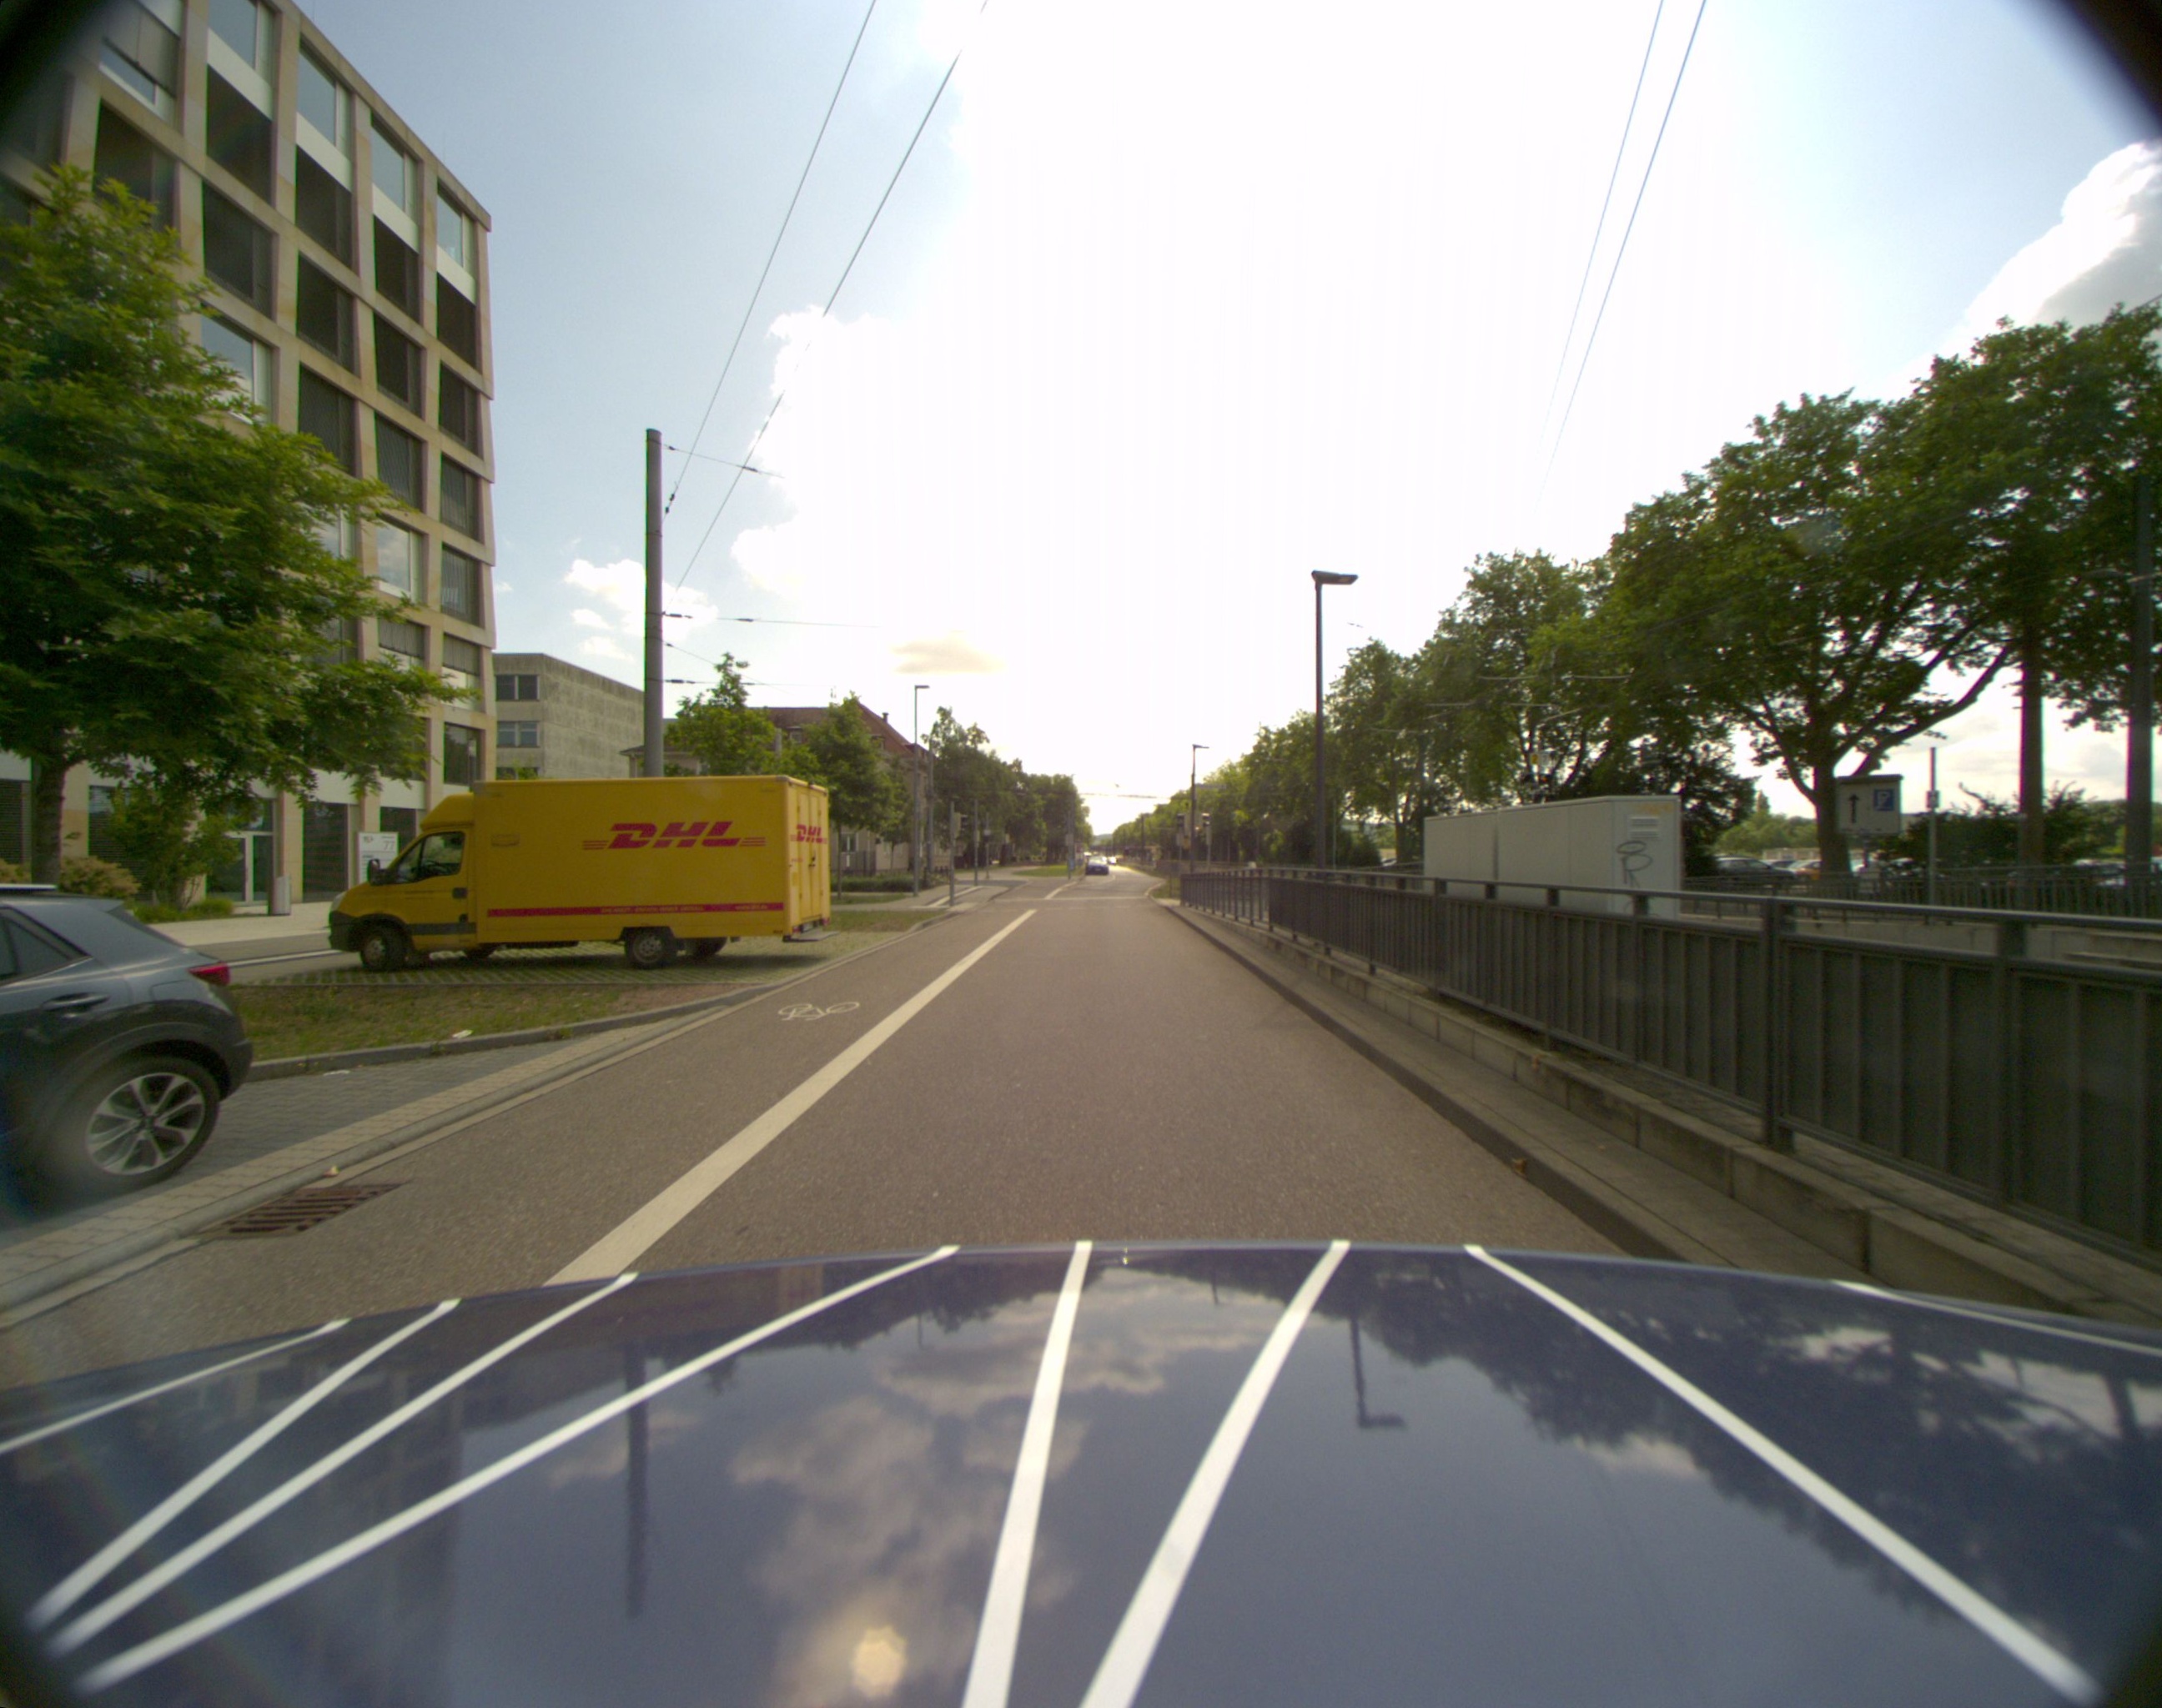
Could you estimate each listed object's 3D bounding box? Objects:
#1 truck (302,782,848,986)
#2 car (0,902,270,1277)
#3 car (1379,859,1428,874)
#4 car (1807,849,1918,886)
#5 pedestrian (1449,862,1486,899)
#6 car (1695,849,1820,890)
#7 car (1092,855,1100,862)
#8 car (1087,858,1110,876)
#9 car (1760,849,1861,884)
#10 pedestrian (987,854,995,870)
[{"bbox_3d":[-7.454,0.422,11.925,6.824,2.851,2.454,0,1,-2],"label":"truck"},{"bbox_3d":[-5.357,1.017,2.167,1.695,1.496,4.068,0,0,0],"label":"car"},{"bbox_3d":[31.742,1.207,74.932,3.997,1.433,2.000,0,0,1],"label":"car"},{"bbox_3d":[43.557,0.751,42.412,4.108,1.888,1.999,2,1,-2],"label":"car"},{"bbox_3d":[14.588,0.981,28.687,0.866,1.336,0.920,1,1,-33],"label":"pedestrian"},{"bbox_3d":[32.546,0.720,36.653,4.107,1.821,2.000,2,1,2],"label":"car"},{"bbox_3d":[3.358,1.079,173.067,1.809,1.496,3.734,0,0,1],"label":"car"},{"bbox_3d":[1.479,1.125,66.851,1.784,1.531,4.420,1,0,-1],"label":"car"},{"bbox_3d":[43.451,0.727,45.335,4.108,1.888,1.999,2,1,-2],"label":"car"},{"bbox_3d":[-9.233,0.781,77.941,0.626,1.598,0.622,1,1,-36],"label":"pedestrian"}]
